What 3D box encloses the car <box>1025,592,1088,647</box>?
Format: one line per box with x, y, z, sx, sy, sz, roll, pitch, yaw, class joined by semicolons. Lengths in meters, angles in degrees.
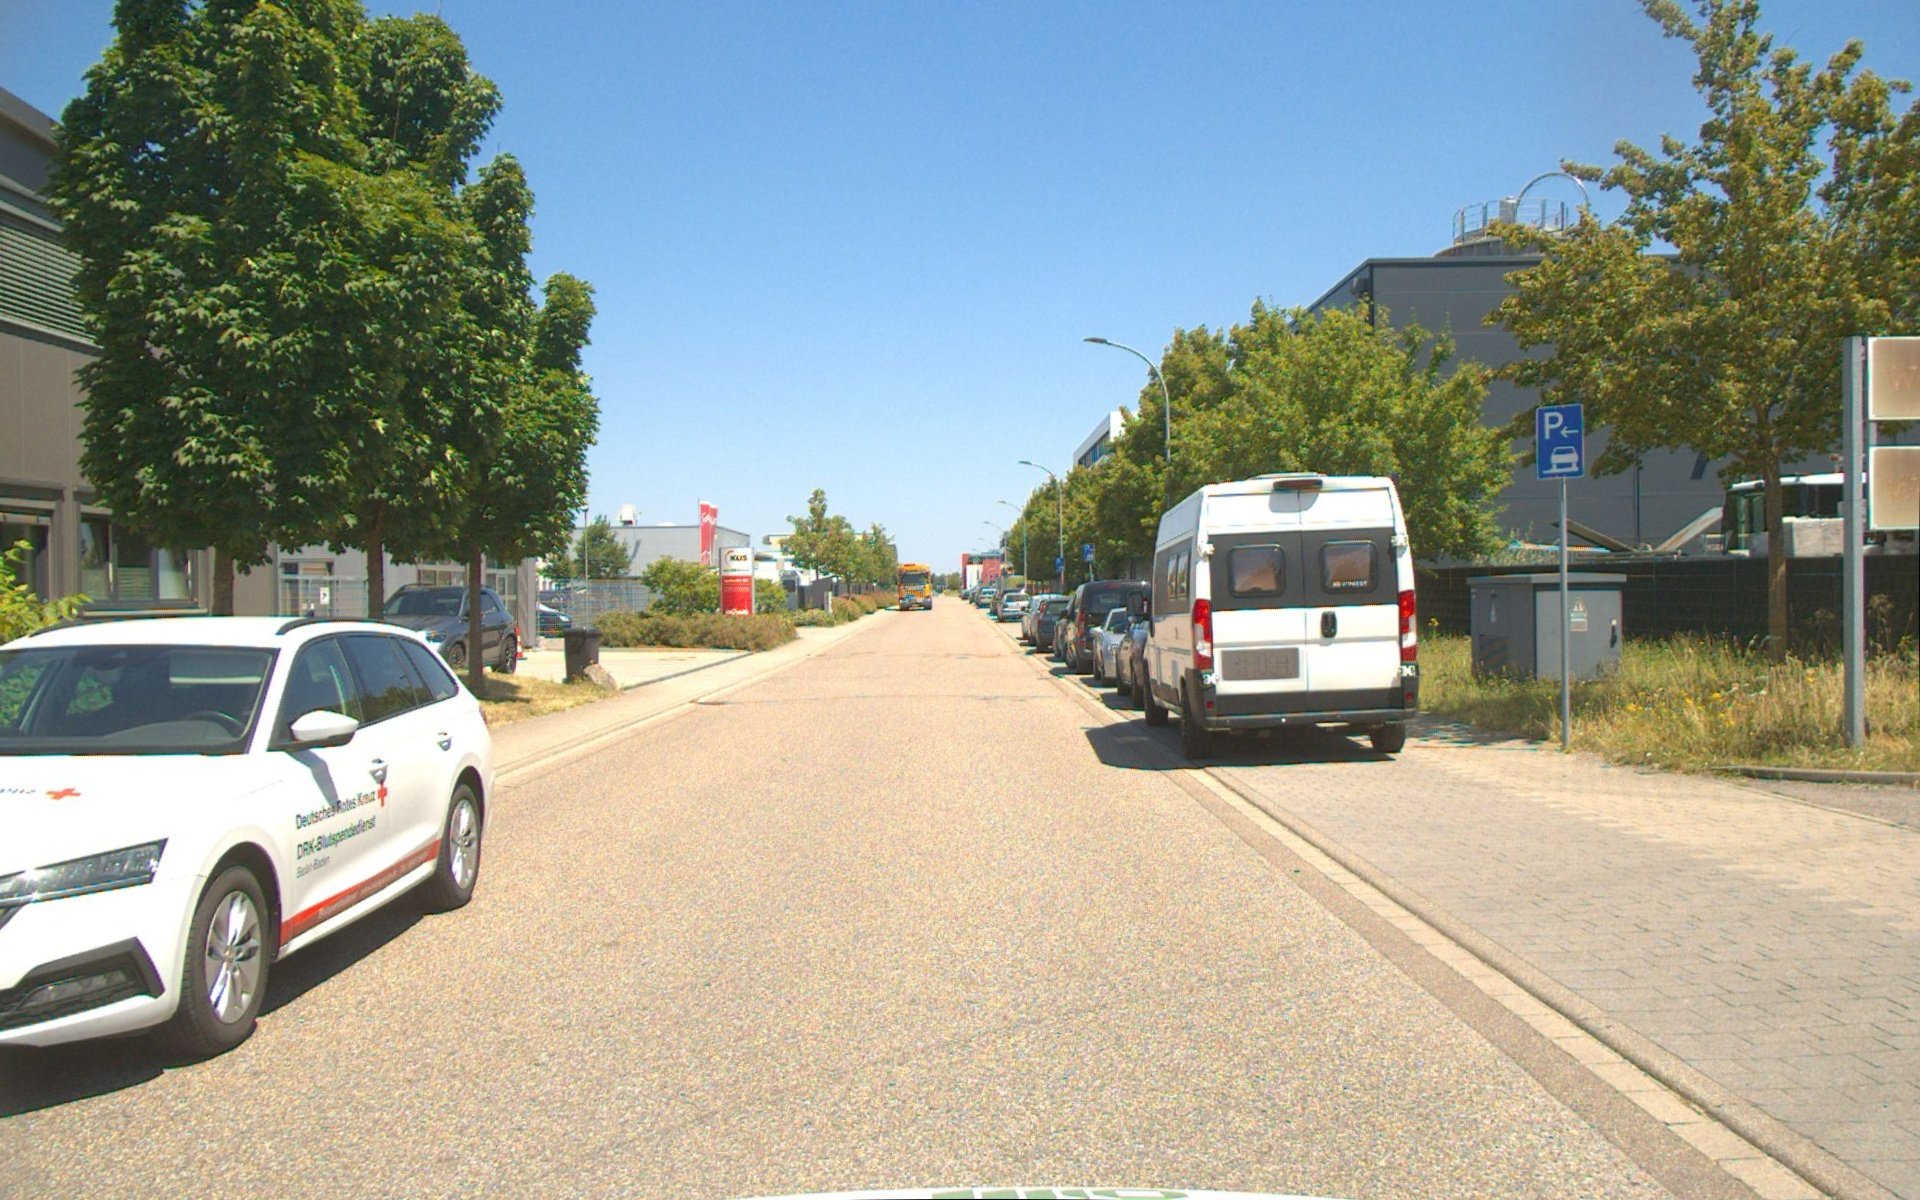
3.027;0.589;52.668;1.712;1.589;4.506;-2;1;0;car

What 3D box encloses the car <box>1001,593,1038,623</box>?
2.985;0.391;83.672;1.683;1.475;3.645;-2;0;-1;car

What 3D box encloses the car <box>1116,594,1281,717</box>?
3.284;0.708;23.574;1.791;1.520;4.479;-2;0;2;car

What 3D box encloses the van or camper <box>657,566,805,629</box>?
-11.768;-0.132;85.402;7.235;3.090;2.790;-1;0;-1;van or camper

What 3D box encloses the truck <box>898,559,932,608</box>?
-3.472;-1.279;128.802;2.399;3.574;8.272;-2;1;-1;truck

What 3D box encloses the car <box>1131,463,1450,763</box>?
3.184;0.103;17.437;2.220;2.541;6.153;-2;0;2;car

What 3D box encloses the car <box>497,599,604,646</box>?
-14.335;0.762;58.039;3.432;1.579;1.556;-1;0;-6;car

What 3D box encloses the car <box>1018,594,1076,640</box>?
3.036;0.582;58.255;1.603;1.494;3.744;-2;1;-3;car

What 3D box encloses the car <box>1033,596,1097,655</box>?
3.000;0.692;46.831;1.673;1.531;4.708;-1;0;4;car

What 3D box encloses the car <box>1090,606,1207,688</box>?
3.272;0.804;29.346;1.676;1.310;4.115;-1;-1;1;car

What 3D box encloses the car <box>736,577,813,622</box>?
-11.376;-0.039;101.729;4.622;2.631;1.998;-1;0;-5;car

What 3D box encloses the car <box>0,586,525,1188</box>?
-3.267;0.814;6.958;1.694;1.483;4.493;0;4;-1;car

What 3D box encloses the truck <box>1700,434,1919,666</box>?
18.908;-0.973;30.264;9.799;3.889;3.029;-2;0;-11;truck

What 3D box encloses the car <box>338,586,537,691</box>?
-9.684;0.646;31.101;1.952;1.765;4.915;1;1;3;car

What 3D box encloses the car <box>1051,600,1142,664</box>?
3.300;0.750;40.893;1.813;1.456;4.712;-1;0;0;car

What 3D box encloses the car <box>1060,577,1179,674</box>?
3.238;0.506;34.395;1.953;1.857;4.353;-1;0;-1;car

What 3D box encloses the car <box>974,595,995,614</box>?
1.949;0.348;130.621;1.552;1.434;3.500;-1;0;-1;car

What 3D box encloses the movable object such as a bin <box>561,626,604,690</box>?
-6.586;1.006;28.866;0.567;1.084;0.765;1;0;-1;movable object such as a bin

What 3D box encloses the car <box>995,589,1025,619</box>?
3.057;0.221;101.582;1.686;1.724;3.984;-1;0;0;car
